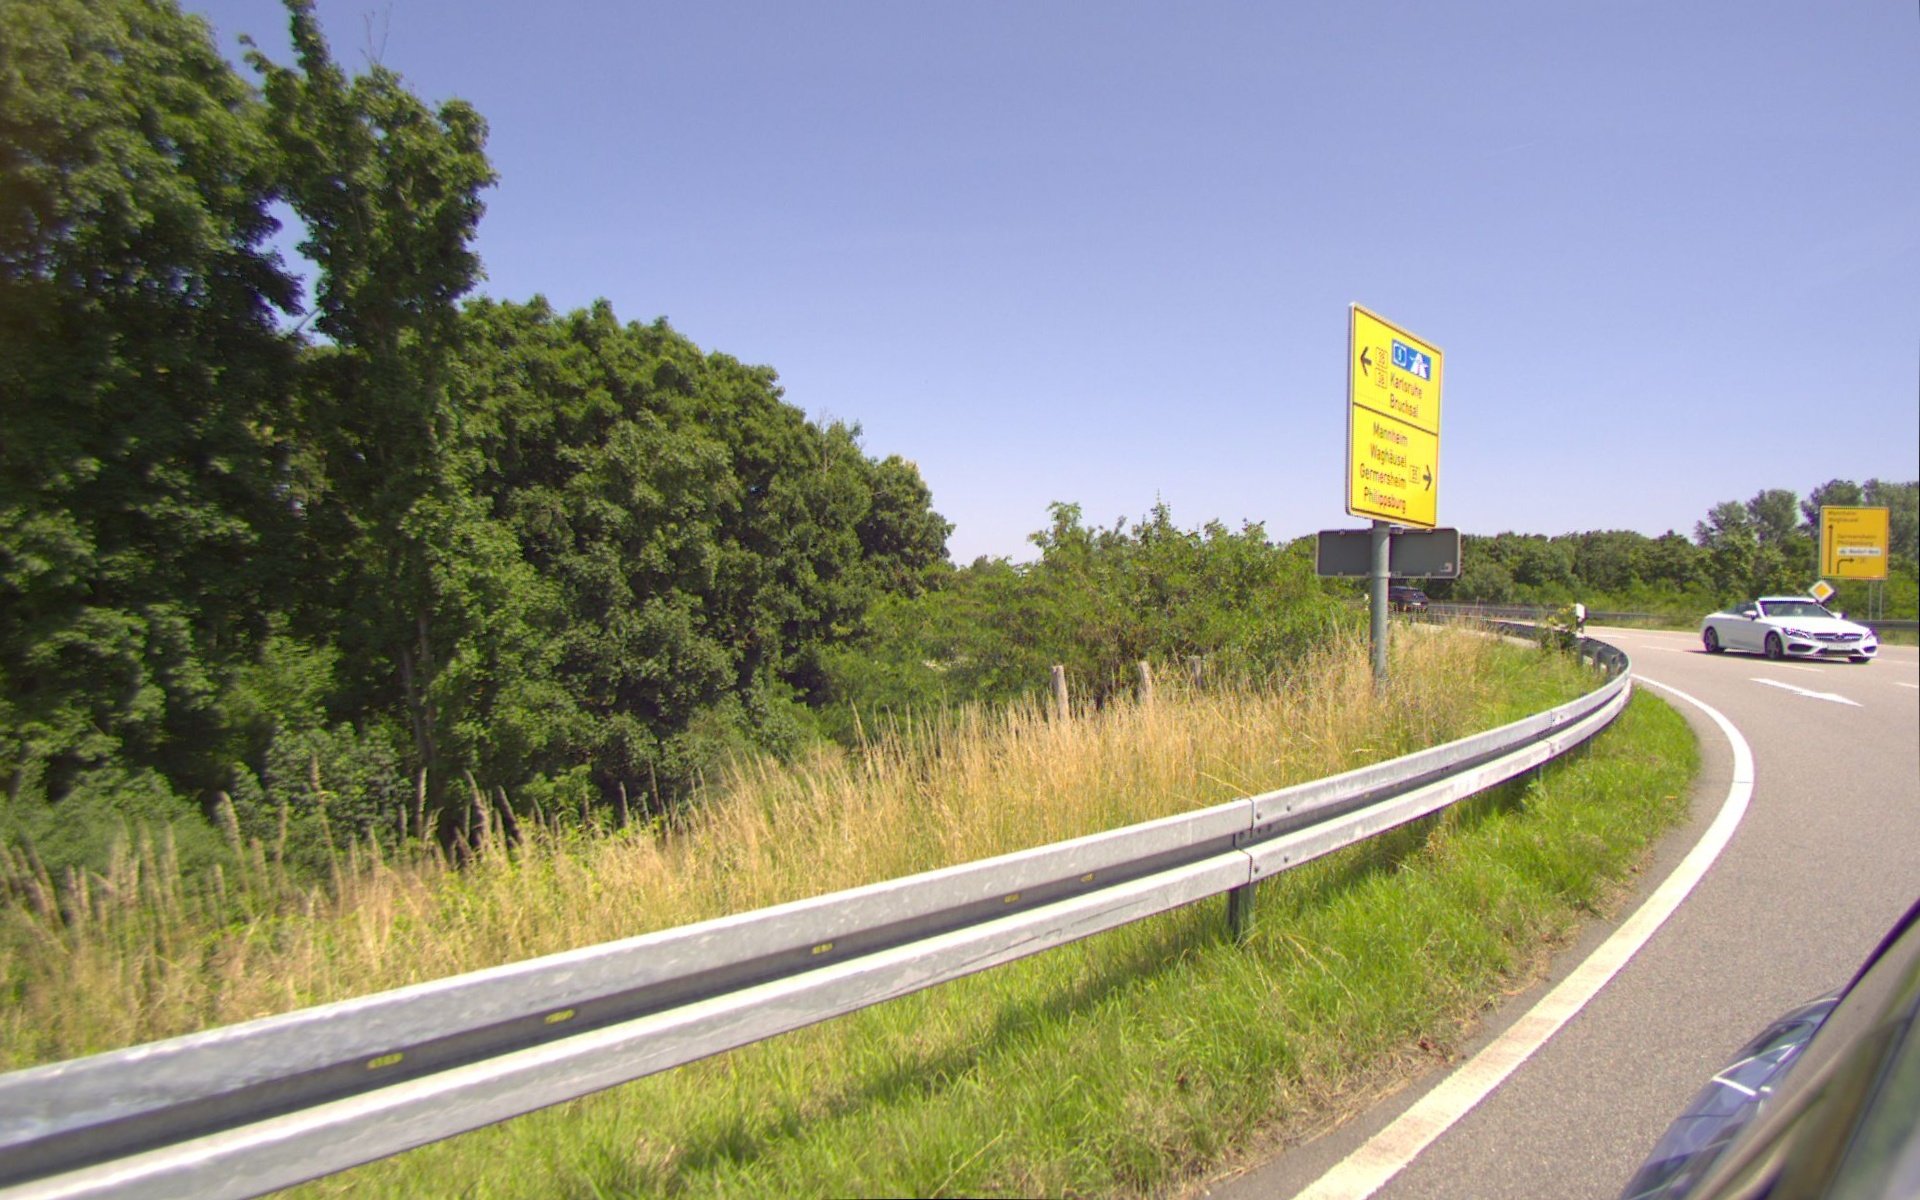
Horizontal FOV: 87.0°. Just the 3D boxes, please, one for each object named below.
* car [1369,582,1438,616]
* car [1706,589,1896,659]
[{"bbox_3d":[25.872,-0.068,59.171,1.685,1.677,4.569,8,0,-2],"label":"car"},{"bbox_3d":[19.510,0.495,23.726,1.788,1.433,4.092,2,1,14],"label":"car"}]
